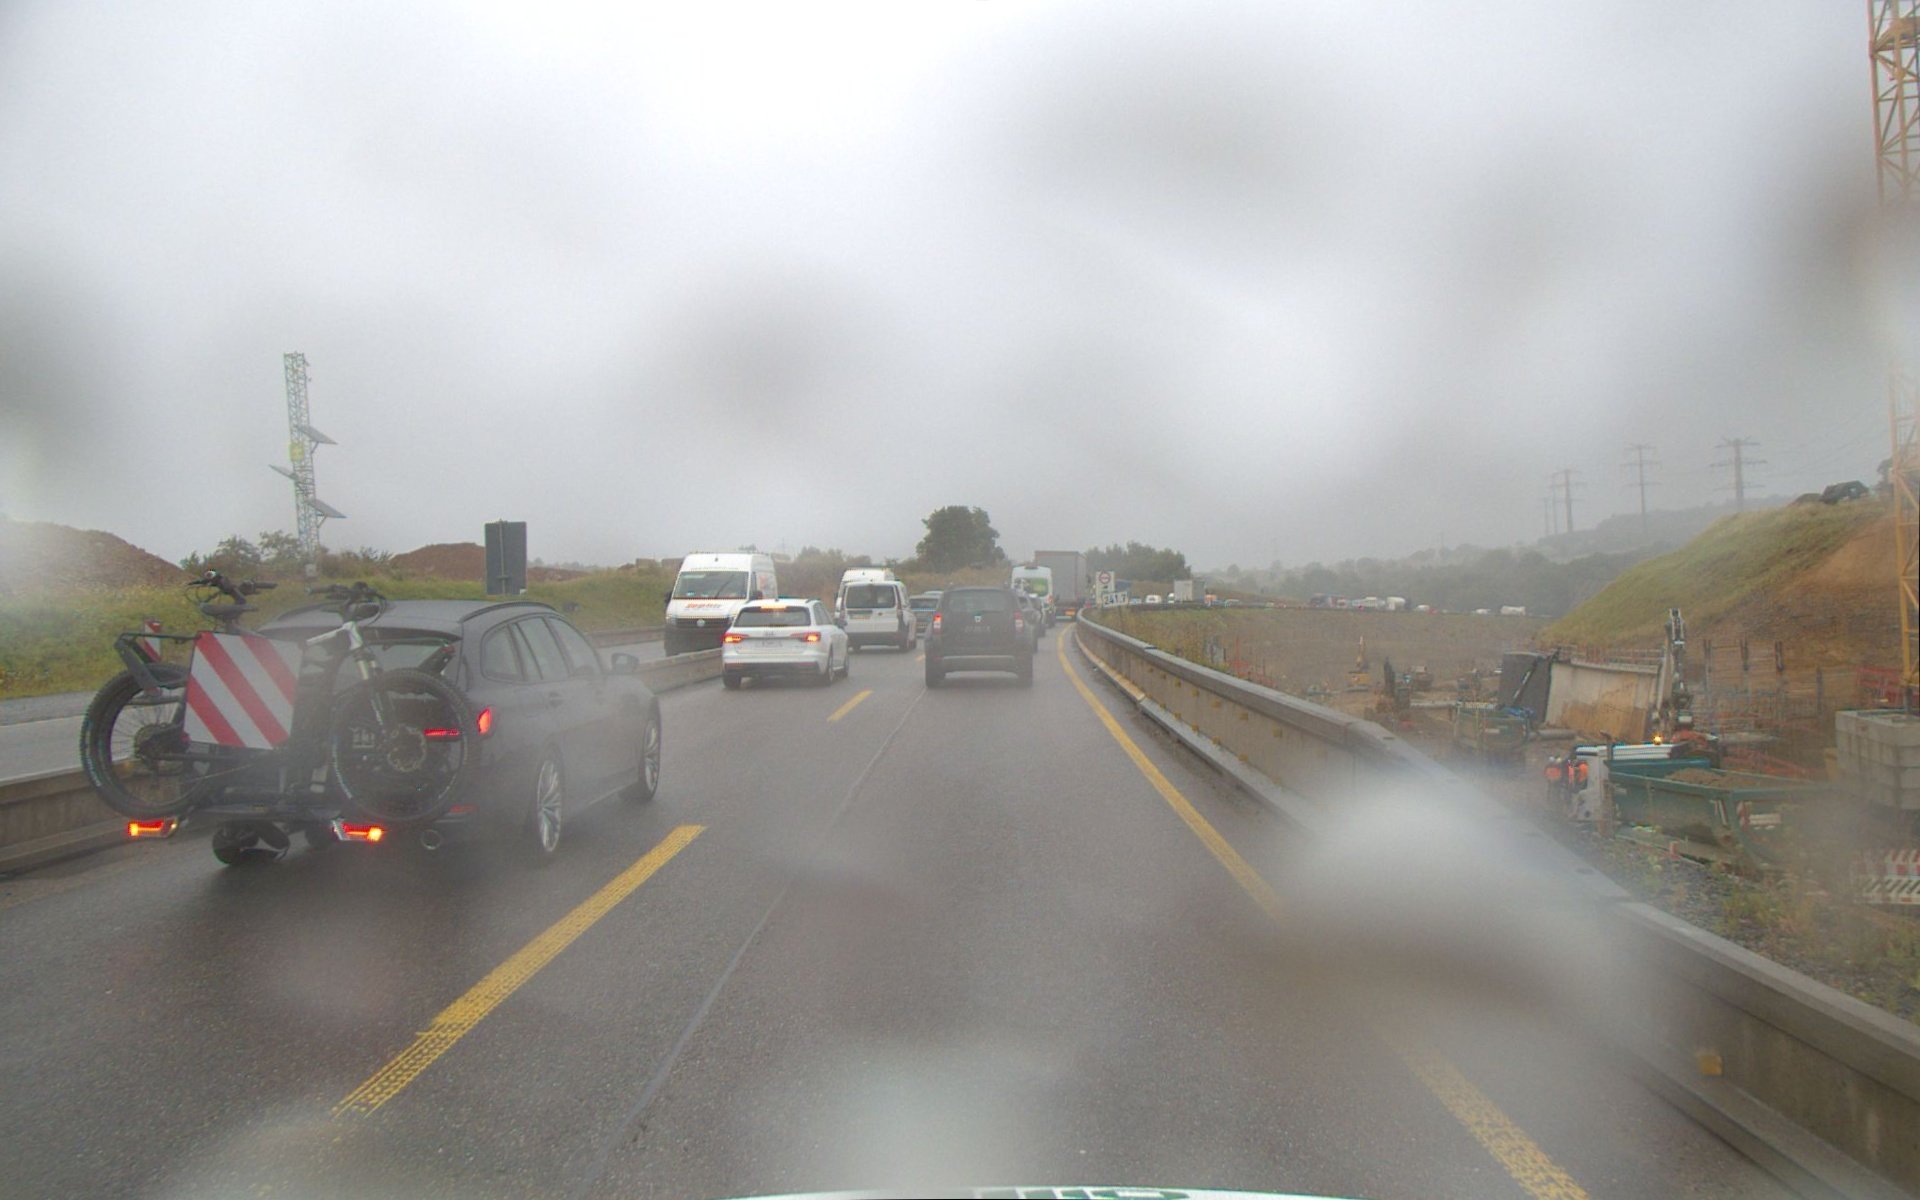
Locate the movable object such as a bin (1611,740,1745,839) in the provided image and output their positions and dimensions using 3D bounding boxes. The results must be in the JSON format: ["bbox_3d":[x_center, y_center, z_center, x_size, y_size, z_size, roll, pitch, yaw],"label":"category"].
[{"bbox_3d":[22.657,5.951,52.324,3.083,2.786,2.970,0,-1,4],"label":"movable object such as a bin"}]

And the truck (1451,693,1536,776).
[{"bbox_3d":[26.922,6.696,83.851,2.671,3.552,9.072,0,-1,8],"label":"truck"}]

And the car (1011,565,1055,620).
[{"bbox_3d":[3.465,-0.332,77.630,1.787,2.480,4.160,0,-1,6],"label":"car"}]

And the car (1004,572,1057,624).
[{"bbox_3d":[2.640,-0.046,61.373,1.788,1.847,4.002,0,-1,4],"label":"car"}]

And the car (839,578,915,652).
[{"bbox_3d":[-2.151,0.397,43.653,1.789,1.847,4.000,1,-1,0],"label":"car"}]

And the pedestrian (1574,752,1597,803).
[{"bbox_3d":[25.487,7.213,67.372,0.722,1.978,0.572,0,-1,42],"label":"pedestrian"}]

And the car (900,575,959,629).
[{"bbox_3d":[-1.049,0.100,59.437,1.788,1.847,4.002,0,-1,3],"label":"car"}]

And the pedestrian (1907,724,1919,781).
[{"bbox_3d":[35.803,5.709,61.057,0.885,2.032,0.899,10,0,8],"label":"pedestrian"}]

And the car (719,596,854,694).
[{"bbox_3d":[-2.860,0.732,28.074,1.788,1.525,4.000,1,-1,1],"label":"car"}]

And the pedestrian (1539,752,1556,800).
[{"bbox_3d":[24.398,7.315,68.735,0.561,1.902,0.736,0,-1,10],"label":"pedestrian"}]

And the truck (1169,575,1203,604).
[{"bbox_3d":[30.333,-1.409,221.748,3.398,3.780,8.423,-1,0,16],"label":"truck"}]

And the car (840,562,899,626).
[{"bbox_3d":[-3.796,-0.267,70.076,1.982,2.593,5.959,-1,0,1],"label":"car"}]

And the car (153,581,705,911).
[{"bbox_3d":[-2.968,0.666,10.717,1.699,1.488,5.630,0,2,1],"label":"car"}]

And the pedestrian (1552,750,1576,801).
[{"bbox_3d":[24.829,7.213,68.010,0.566,1.978,0.730,1,-1,-24],"label":"pedestrian"}]

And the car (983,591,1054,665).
[{"bbox_3d":[1.584,0.736,44.230,1.788,1.847,4.001,1,-1,3],"label":"car"}]

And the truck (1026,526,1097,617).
[{"bbox_3d":[6.238,-1.576,100.050,3.468,5.166,10.449,0,-1,8],"label":"truck"}]

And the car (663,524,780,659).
[{"bbox_3d":[-5.757,-0.211,40.633,1.952,3.066,5.780,1,0,1],"label":"car"}]

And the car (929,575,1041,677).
[{"bbox_3d":[0.467,0.437,28.455,1.788,1.619,4.001,1,-1,2],"label":"car"}]

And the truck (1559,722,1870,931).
[{"bbox_3d":[16.616,4.840,37.319,2.645,3.565,8.943,1,-1,-2],"label":"truck"}]

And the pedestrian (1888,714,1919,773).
[{"bbox_3d":[35.951,5.438,62.576,0.885,2.032,0.899,10,0,8],"label":"pedestrian"}]
